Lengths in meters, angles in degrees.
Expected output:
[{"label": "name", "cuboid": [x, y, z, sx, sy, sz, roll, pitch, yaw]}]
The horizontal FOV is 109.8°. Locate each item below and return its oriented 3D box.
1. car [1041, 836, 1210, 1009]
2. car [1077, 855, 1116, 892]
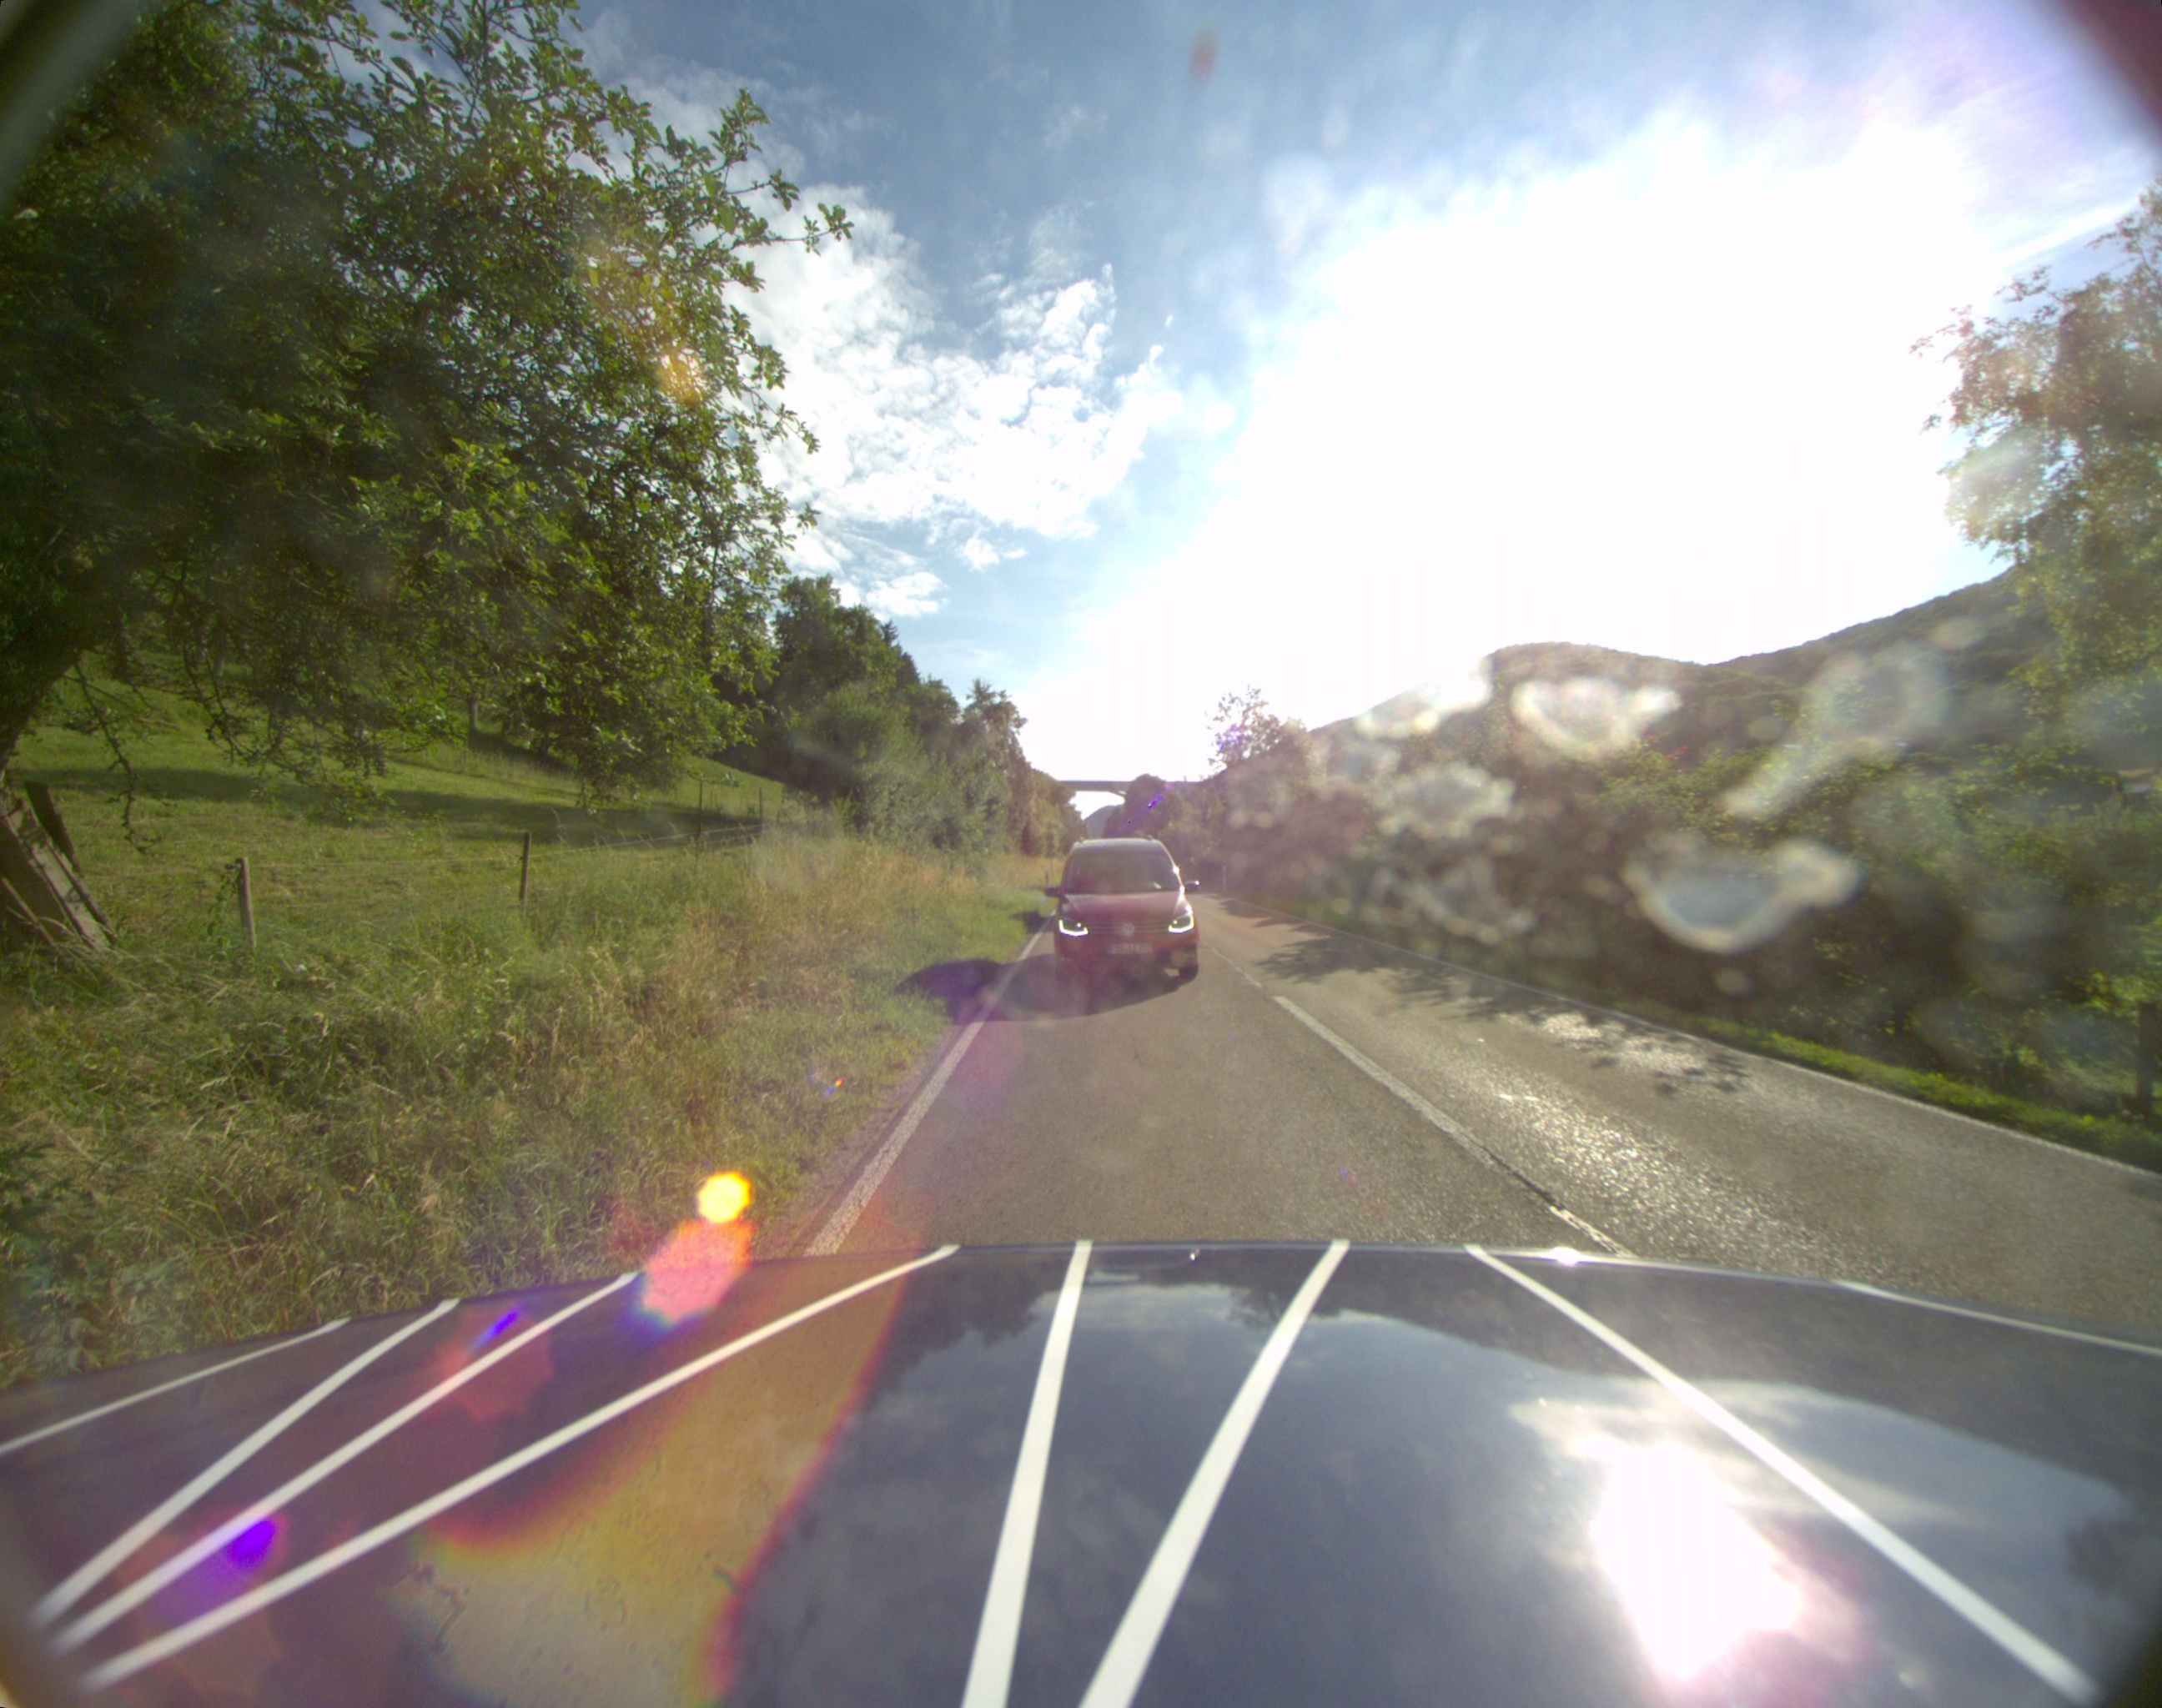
[{"label": "car", "cuboid": [0.529, 0.734, 10.376, 1.753, 1.799, 4.288, -3, 0, 1]}, {"label": "car", "cuboid": [0.761, 0.903, 37.518, 1.753, 1.608, 4.288, -3, 0, 1]}]
